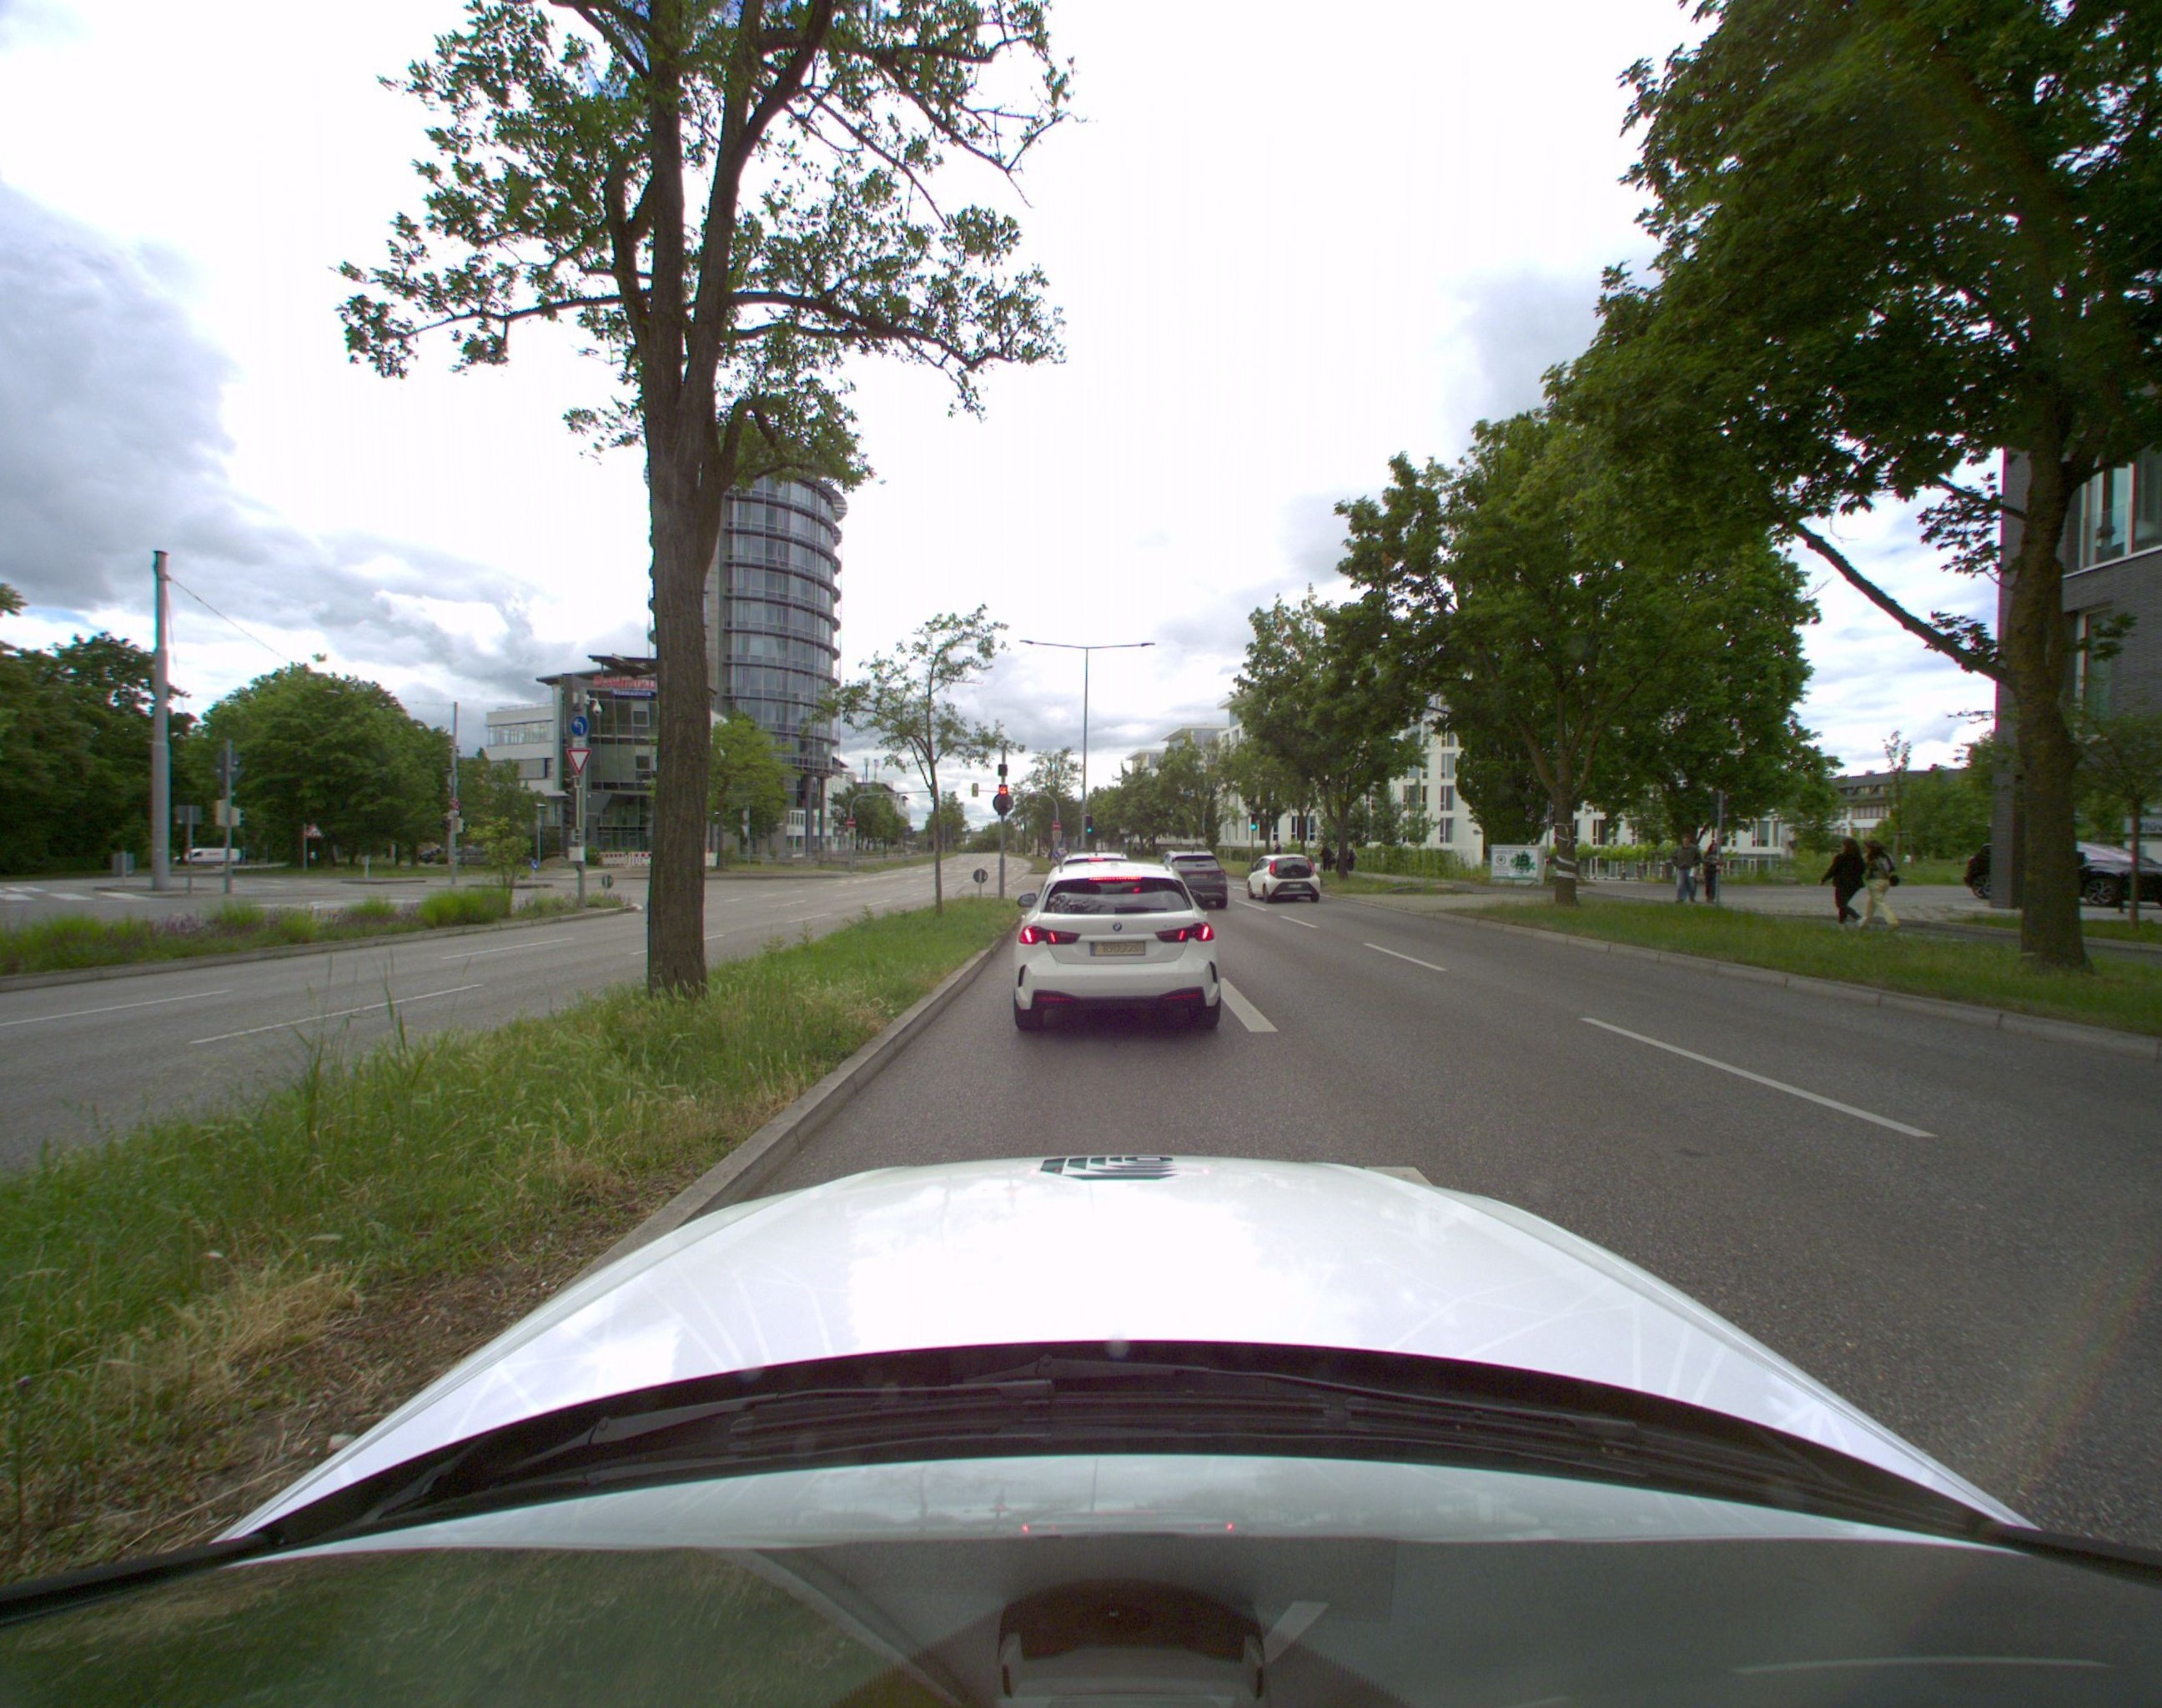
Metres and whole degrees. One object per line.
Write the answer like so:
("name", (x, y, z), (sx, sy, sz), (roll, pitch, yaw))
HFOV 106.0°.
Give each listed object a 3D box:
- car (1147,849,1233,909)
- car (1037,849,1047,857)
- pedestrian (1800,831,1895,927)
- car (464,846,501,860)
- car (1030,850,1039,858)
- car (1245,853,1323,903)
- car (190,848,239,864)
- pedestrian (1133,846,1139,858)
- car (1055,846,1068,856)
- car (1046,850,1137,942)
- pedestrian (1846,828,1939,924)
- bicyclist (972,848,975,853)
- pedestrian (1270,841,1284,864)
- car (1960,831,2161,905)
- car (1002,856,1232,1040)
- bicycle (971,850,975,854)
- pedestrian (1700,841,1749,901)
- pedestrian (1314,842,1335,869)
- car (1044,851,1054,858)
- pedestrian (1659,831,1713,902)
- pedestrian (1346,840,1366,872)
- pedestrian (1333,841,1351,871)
("car", (3.071, 0.663, 23.823), (1.886, 1.596, 4.312), (0, 0, -1))
("car", (-9.255, -0.183, 191.441), (1.992, 1.732, 3.990), (0, -1, -7))
("pedestrian", (13.798, 0.434, 14.697), (0.791, 1.660, 1.061), (0, 0, 7))
("car", (-37.364, -0.062, 50.878), (0.766, 0.876, 1.730), (0, 0, 38))
("car", (-9.391, -0.012, 164.473), (1.692, 1.717, 3.993), (0, -1, -4))
("car", (6.283, 0.690, 25.562), (1.647, 1.425, 3.537), (-1, 0, 2))
("car", (-128.878, 0.246, 121.182), (1.978, 2.339, 4.570), (-1, -1, 16))
("pedestrian", (9.133, -0.354, 135.105), (0.763, 2.014, 0.751), (0, -1, -13))
("car", (-3.347, -0.472, 139.876), (1.991, 1.670, 3.992), (-2, 0, -5))
("car", (0.242, 0.716, 15.929), (1.544, 1.569, 4.002), (0, 0, 2))
("pedestrian", (14.560, 0.380, 14.645), (0.774, 1.660, 0.954), (0, 0, 7))
("bicyclist", (-33.197, -1.040, 250.488), (0.809, 1.653, 1.187), (0, -1, -4))
("pedestrian", (13.123, -0.094, 54.500), (0.739, 1.574, 0.674), (0, -1, 0))
("car", (24.893, 0.301, 20.225), (1.749, 1.646, 4.151), (0, 0, 2))
("car", (0.351, 0.743, 8.450), (1.815, 1.438, 4.002), (0, 0, 2))
("bicycle", (-33.189, -0.705, 250.421), (0.809, 1.104, 2.553), (0, -1, -4))
("pedestrian", (17.169, 0.431, 21.727), (0.880, 1.557, 0.825), (0, 0, -38))
("pedestrian", (13.273, 0.100, 44.384), (0.786, 1.448, 1.112), (0, -1, 1))
("car", (-6.599, 0.124, 167.001), (1.690, 1.486, 3.685), (0, 0, -6))
("pedestrian", (16.414, 0.317, 22.098), (0.983, 1.868, 0.952), (0, 0, -38))
("pedestrian", (14.900, 0.121, 44.103), (0.764, 1.685, 0.883), (0, -1, 1))
("pedestrian", (14.127, 0.126, 44.070), (0.697, 1.595, 0.883), (0, -1, 1))
